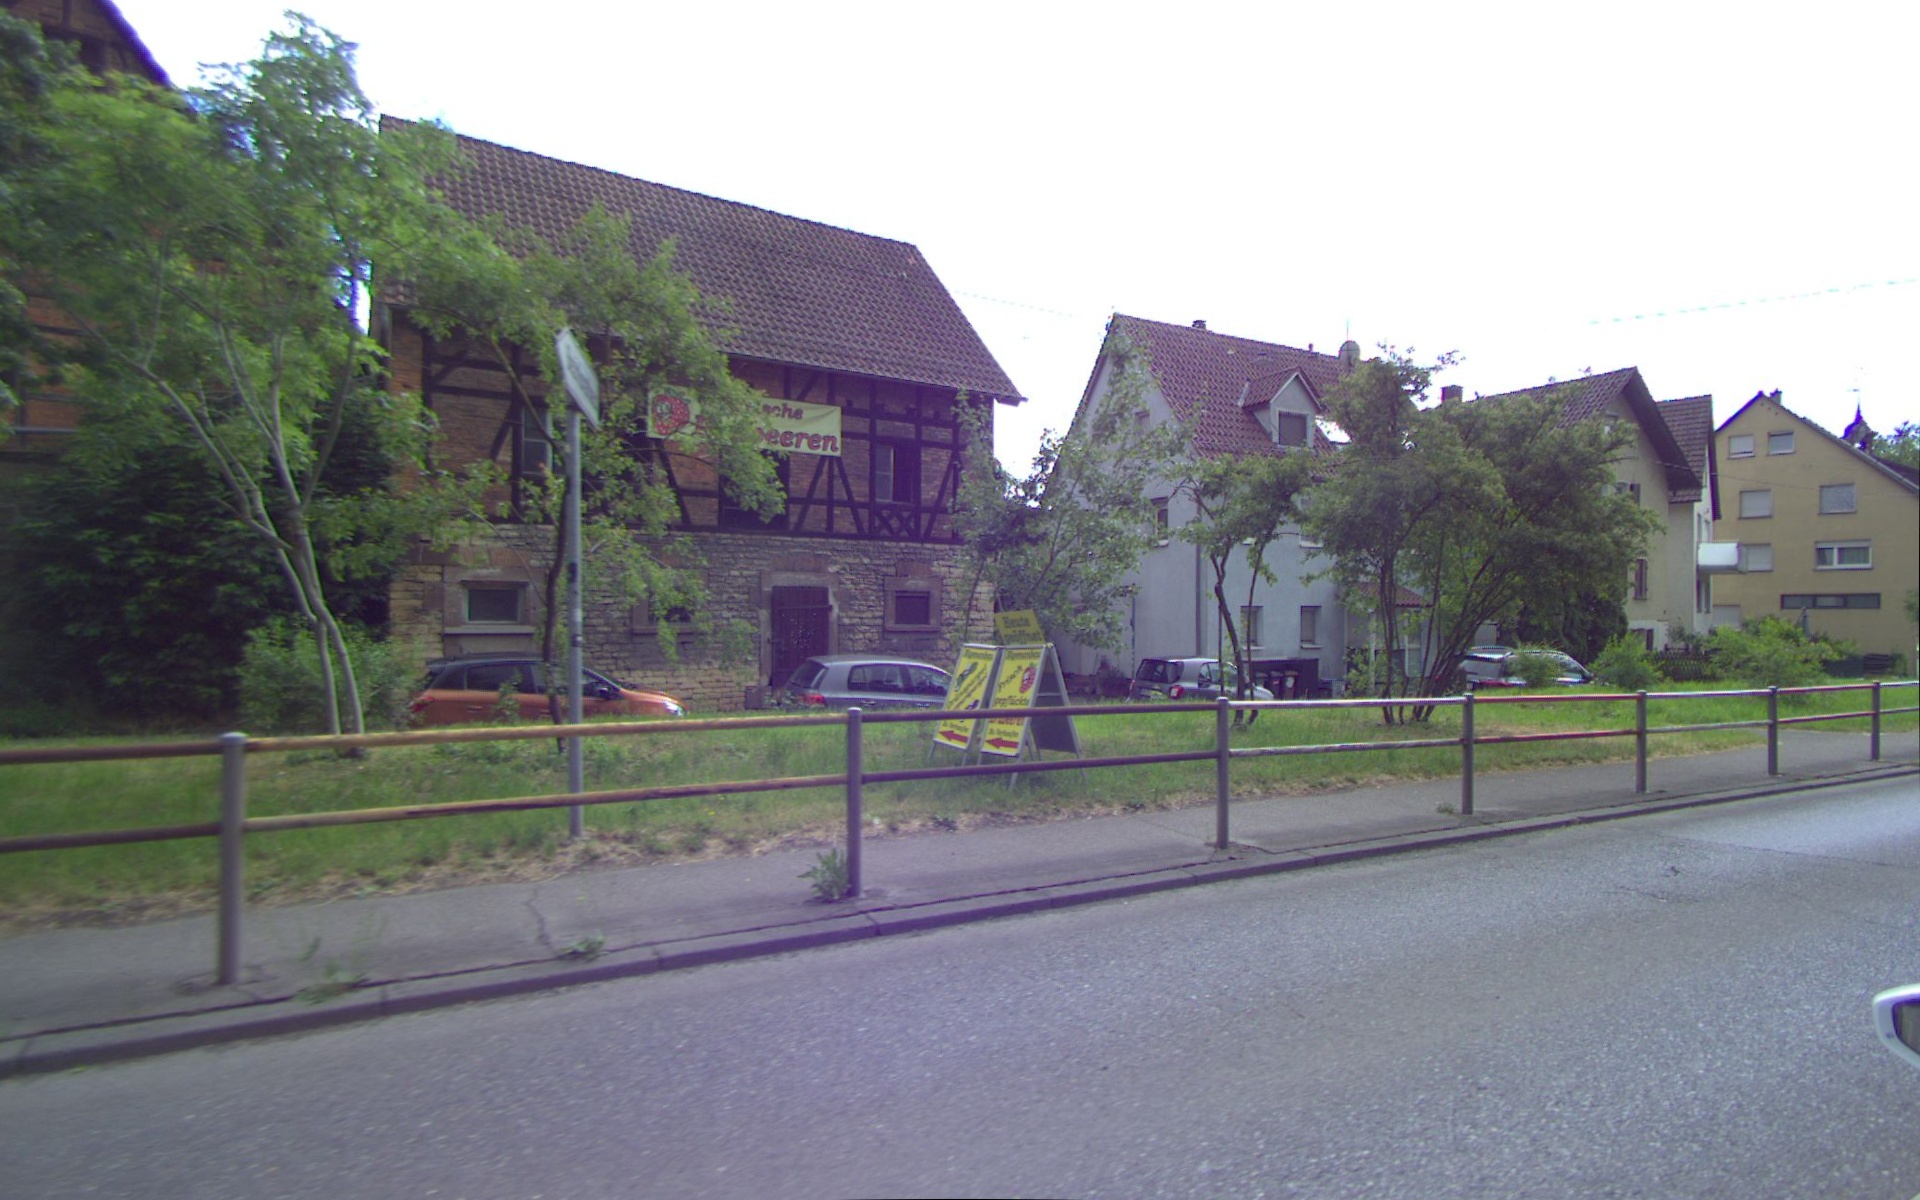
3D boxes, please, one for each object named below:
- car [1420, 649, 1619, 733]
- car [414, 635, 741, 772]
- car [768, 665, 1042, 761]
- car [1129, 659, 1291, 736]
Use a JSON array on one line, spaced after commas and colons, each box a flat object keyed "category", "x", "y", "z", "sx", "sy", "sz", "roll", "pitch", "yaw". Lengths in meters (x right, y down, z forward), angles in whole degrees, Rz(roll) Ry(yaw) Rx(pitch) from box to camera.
[{"category": "car", "x": 12.441, "y": 1.947, "z": 22.339, "sx": 3.945, "sy": 1.717, "sz": 1.916, "roll": 1, "pitch": -2, "yaw": -25}, {"category": "car", "x": -5.181, "y": 1.318, "z": 13.742, "sx": 3.950, "sy": 1.639, "sz": 1.805, "roll": 1, "pitch": -3, "yaw": -28}, {"category": "car", "x": -0.890, "y": 1.724, "z": 16.044, "sx": 3.945, "sy": 1.294, "sz": 1.988, "roll": 1, "pitch": -2, "yaw": -25}, {"category": "car", "x": 4.611, "y": 1.756, "z": 18.583, "sx": 2.519, "sy": 1.294, "sz": 1.548, "roll": 1, "pitch": -2, "yaw": -25}]
